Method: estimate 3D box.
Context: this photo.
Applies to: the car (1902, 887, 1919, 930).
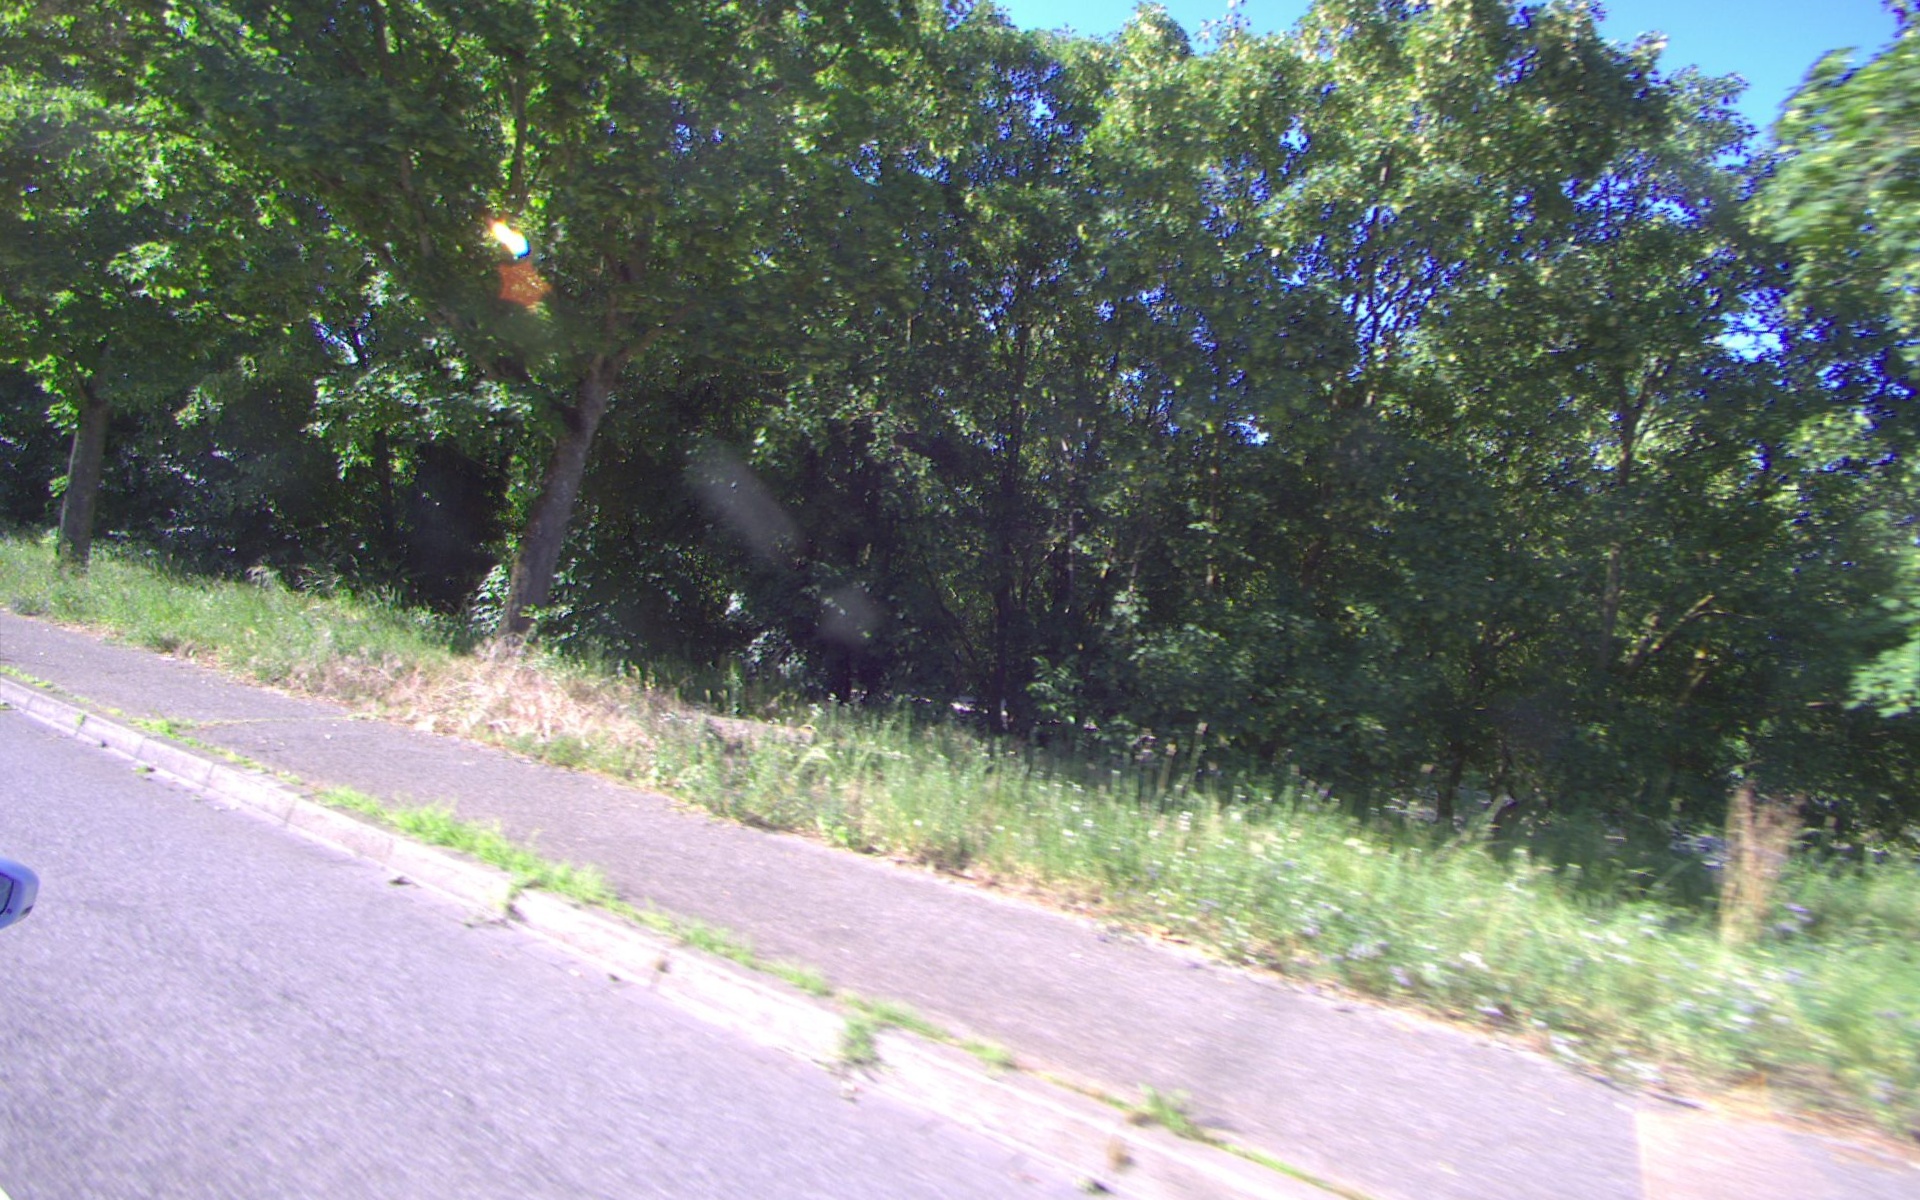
[{"bbox_3d":[45.459,14.421,45.270,3.927,1.658,1.845,9,-1,22],"label":"car"}]
